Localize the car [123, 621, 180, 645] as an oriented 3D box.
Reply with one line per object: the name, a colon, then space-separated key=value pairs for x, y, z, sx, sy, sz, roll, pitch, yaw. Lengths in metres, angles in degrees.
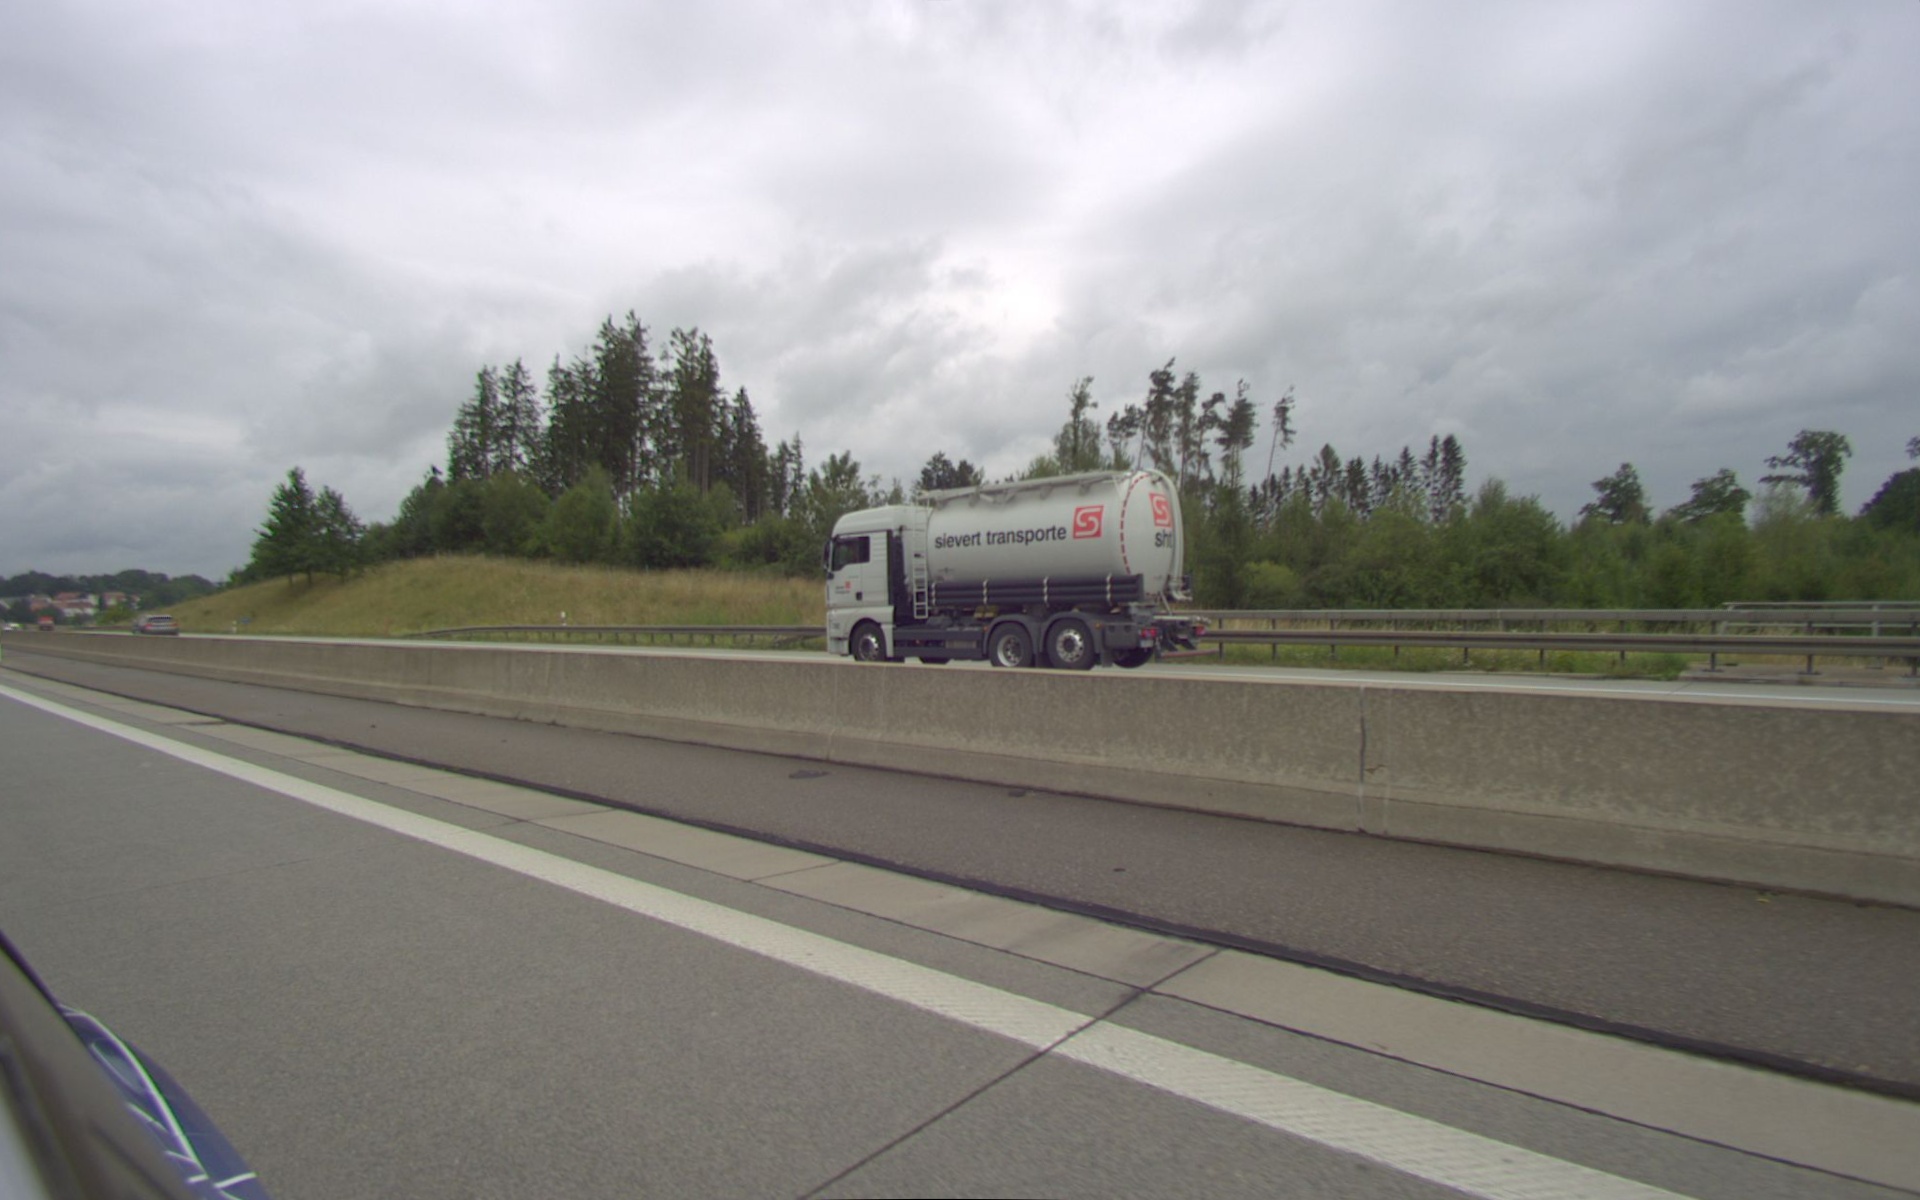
car: x=-47.159 y=1.918 z=59.014 sx=4.358 sy=1.297 sz=1.925 roll=-1 pitch=0 yaw=42

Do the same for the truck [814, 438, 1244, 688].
truck: x=1.047 y=-0.584 z=20.798 sx=8.843 sy=4.163 sz=2.808 roll=-1 pitch=0 yaw=40
